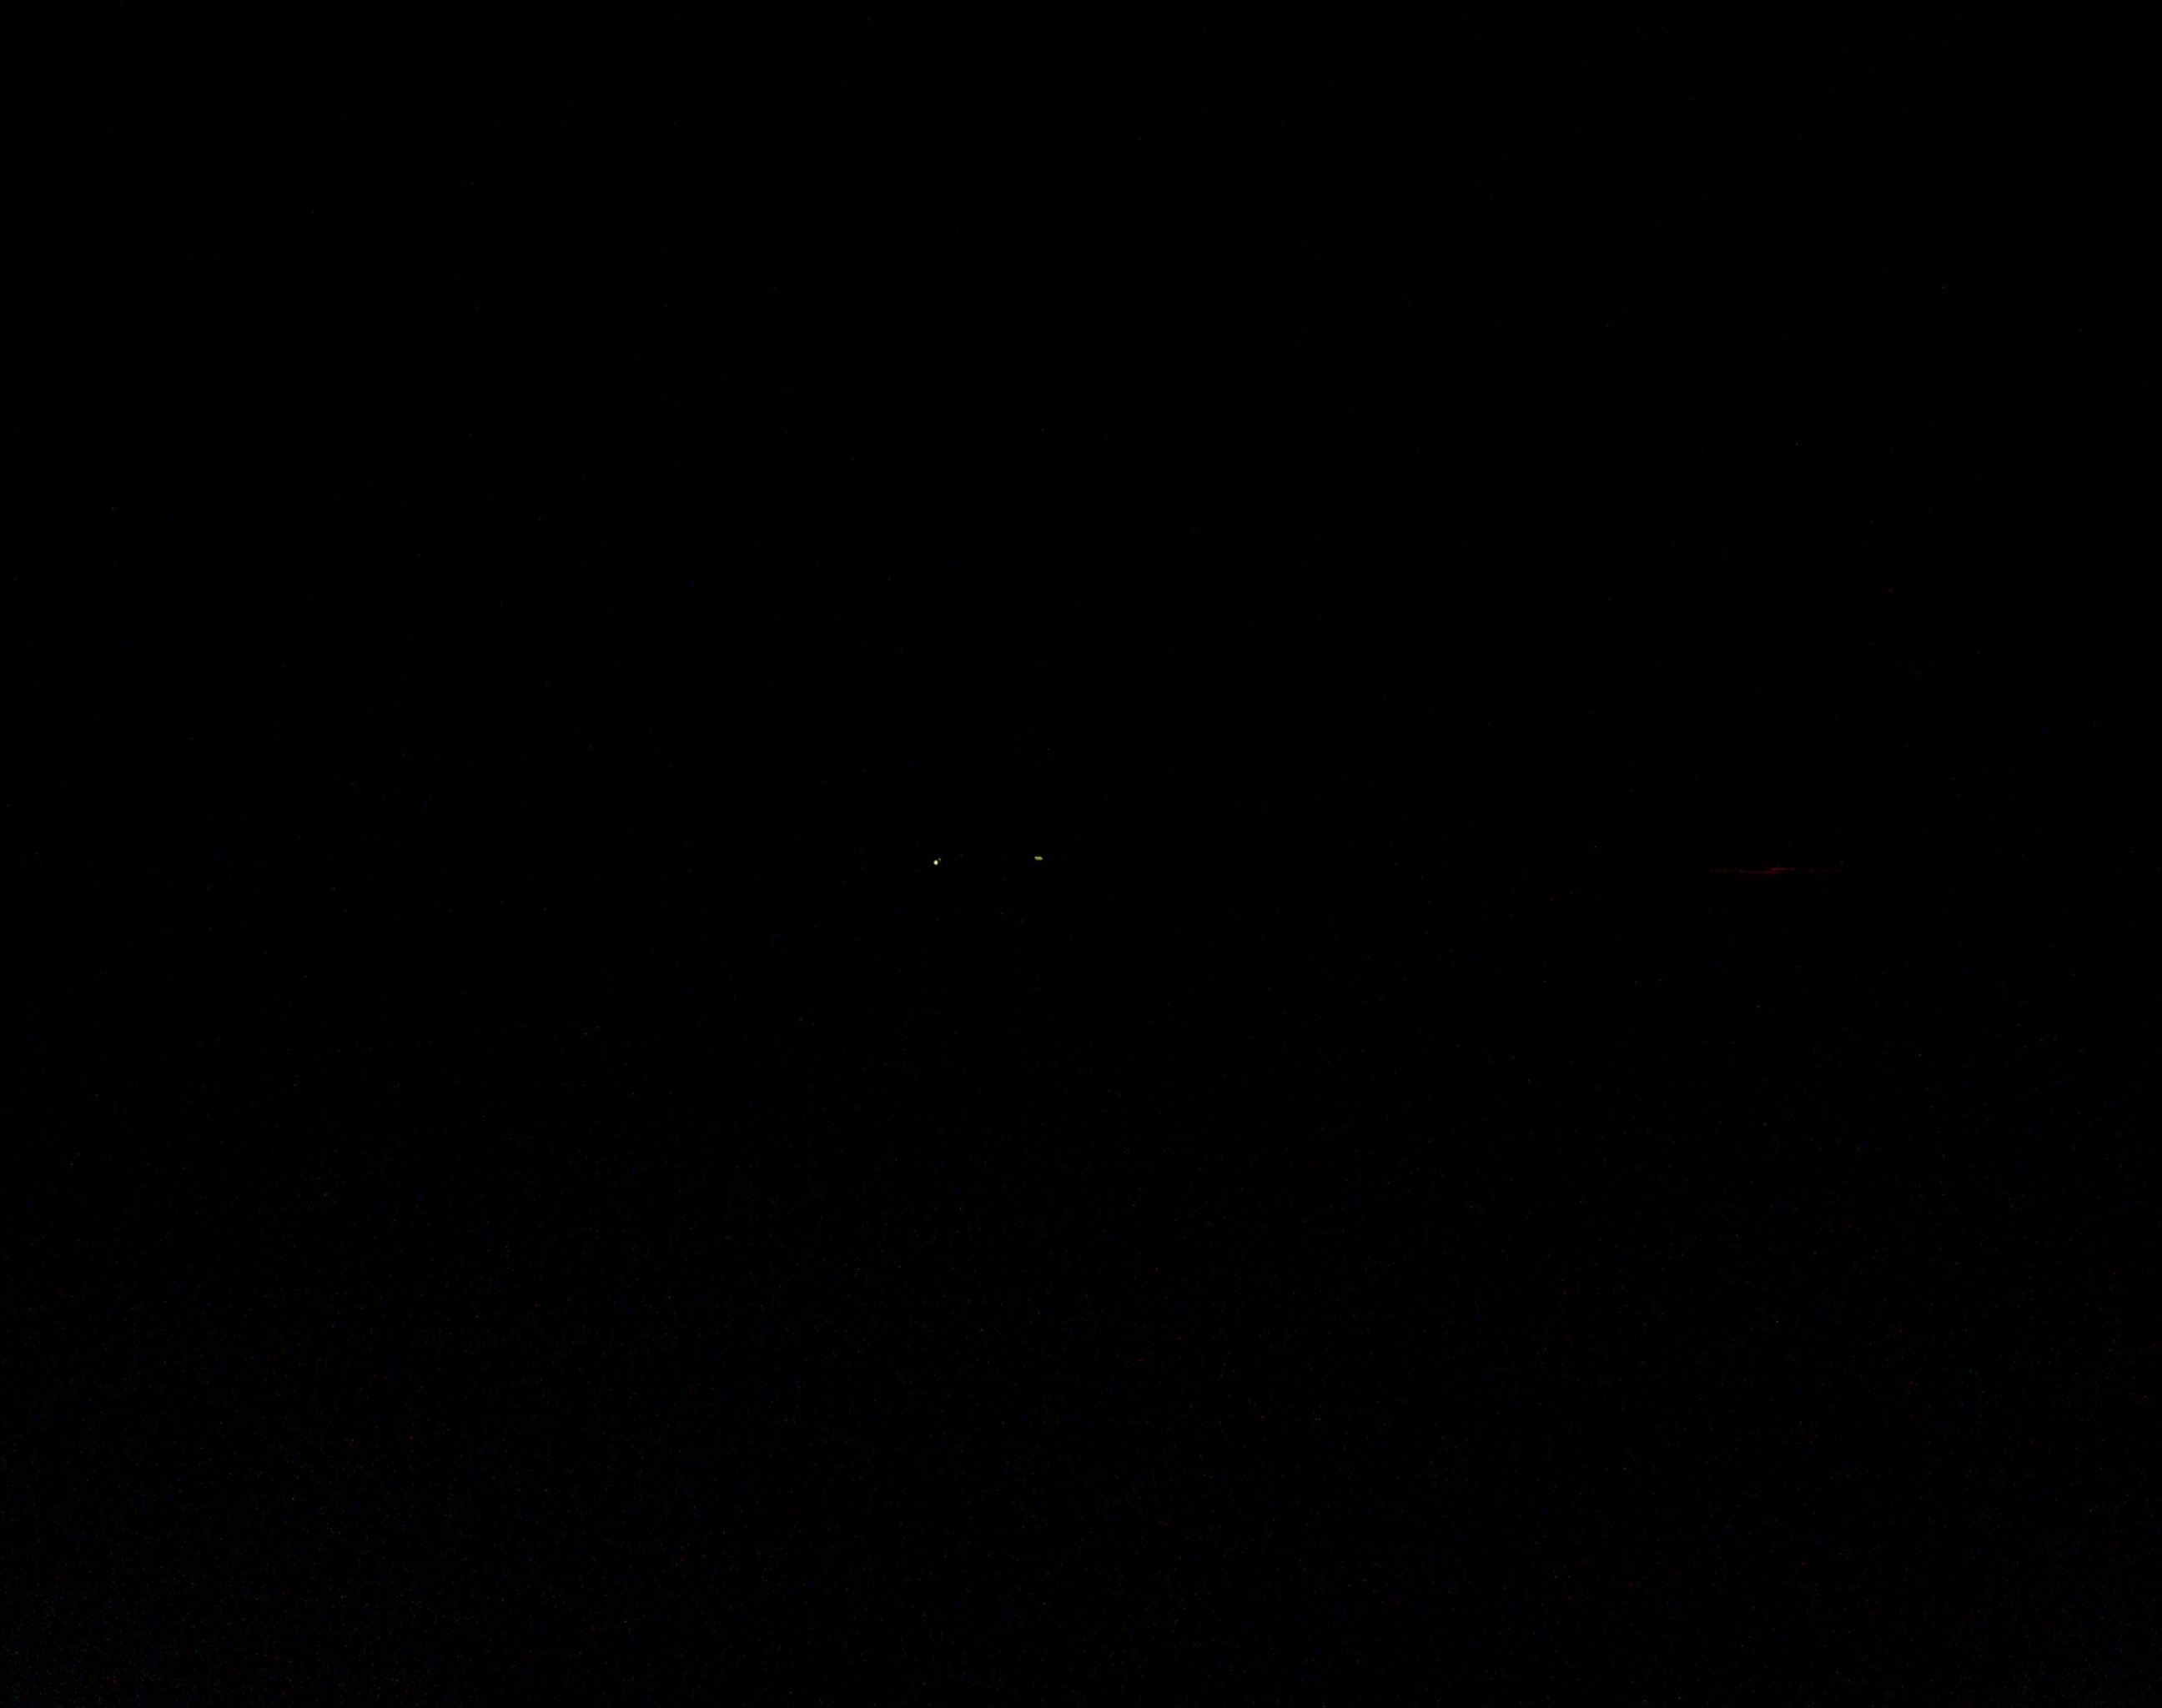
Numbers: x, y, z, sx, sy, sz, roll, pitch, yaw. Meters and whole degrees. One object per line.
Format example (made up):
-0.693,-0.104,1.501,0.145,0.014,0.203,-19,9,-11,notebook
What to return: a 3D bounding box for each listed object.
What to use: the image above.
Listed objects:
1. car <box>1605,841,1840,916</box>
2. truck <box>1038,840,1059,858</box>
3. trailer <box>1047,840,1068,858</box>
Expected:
16.012,0.524,19.371,1.999,1.648,4.532,-1,1,-3,car
-7.549,-1.019,175.868,2.691,4.020,10.640,-1,0,-15,truck
-5.205,-1.070,166.259,2.727,3.933,9.037,-1,0,-12,trailer
